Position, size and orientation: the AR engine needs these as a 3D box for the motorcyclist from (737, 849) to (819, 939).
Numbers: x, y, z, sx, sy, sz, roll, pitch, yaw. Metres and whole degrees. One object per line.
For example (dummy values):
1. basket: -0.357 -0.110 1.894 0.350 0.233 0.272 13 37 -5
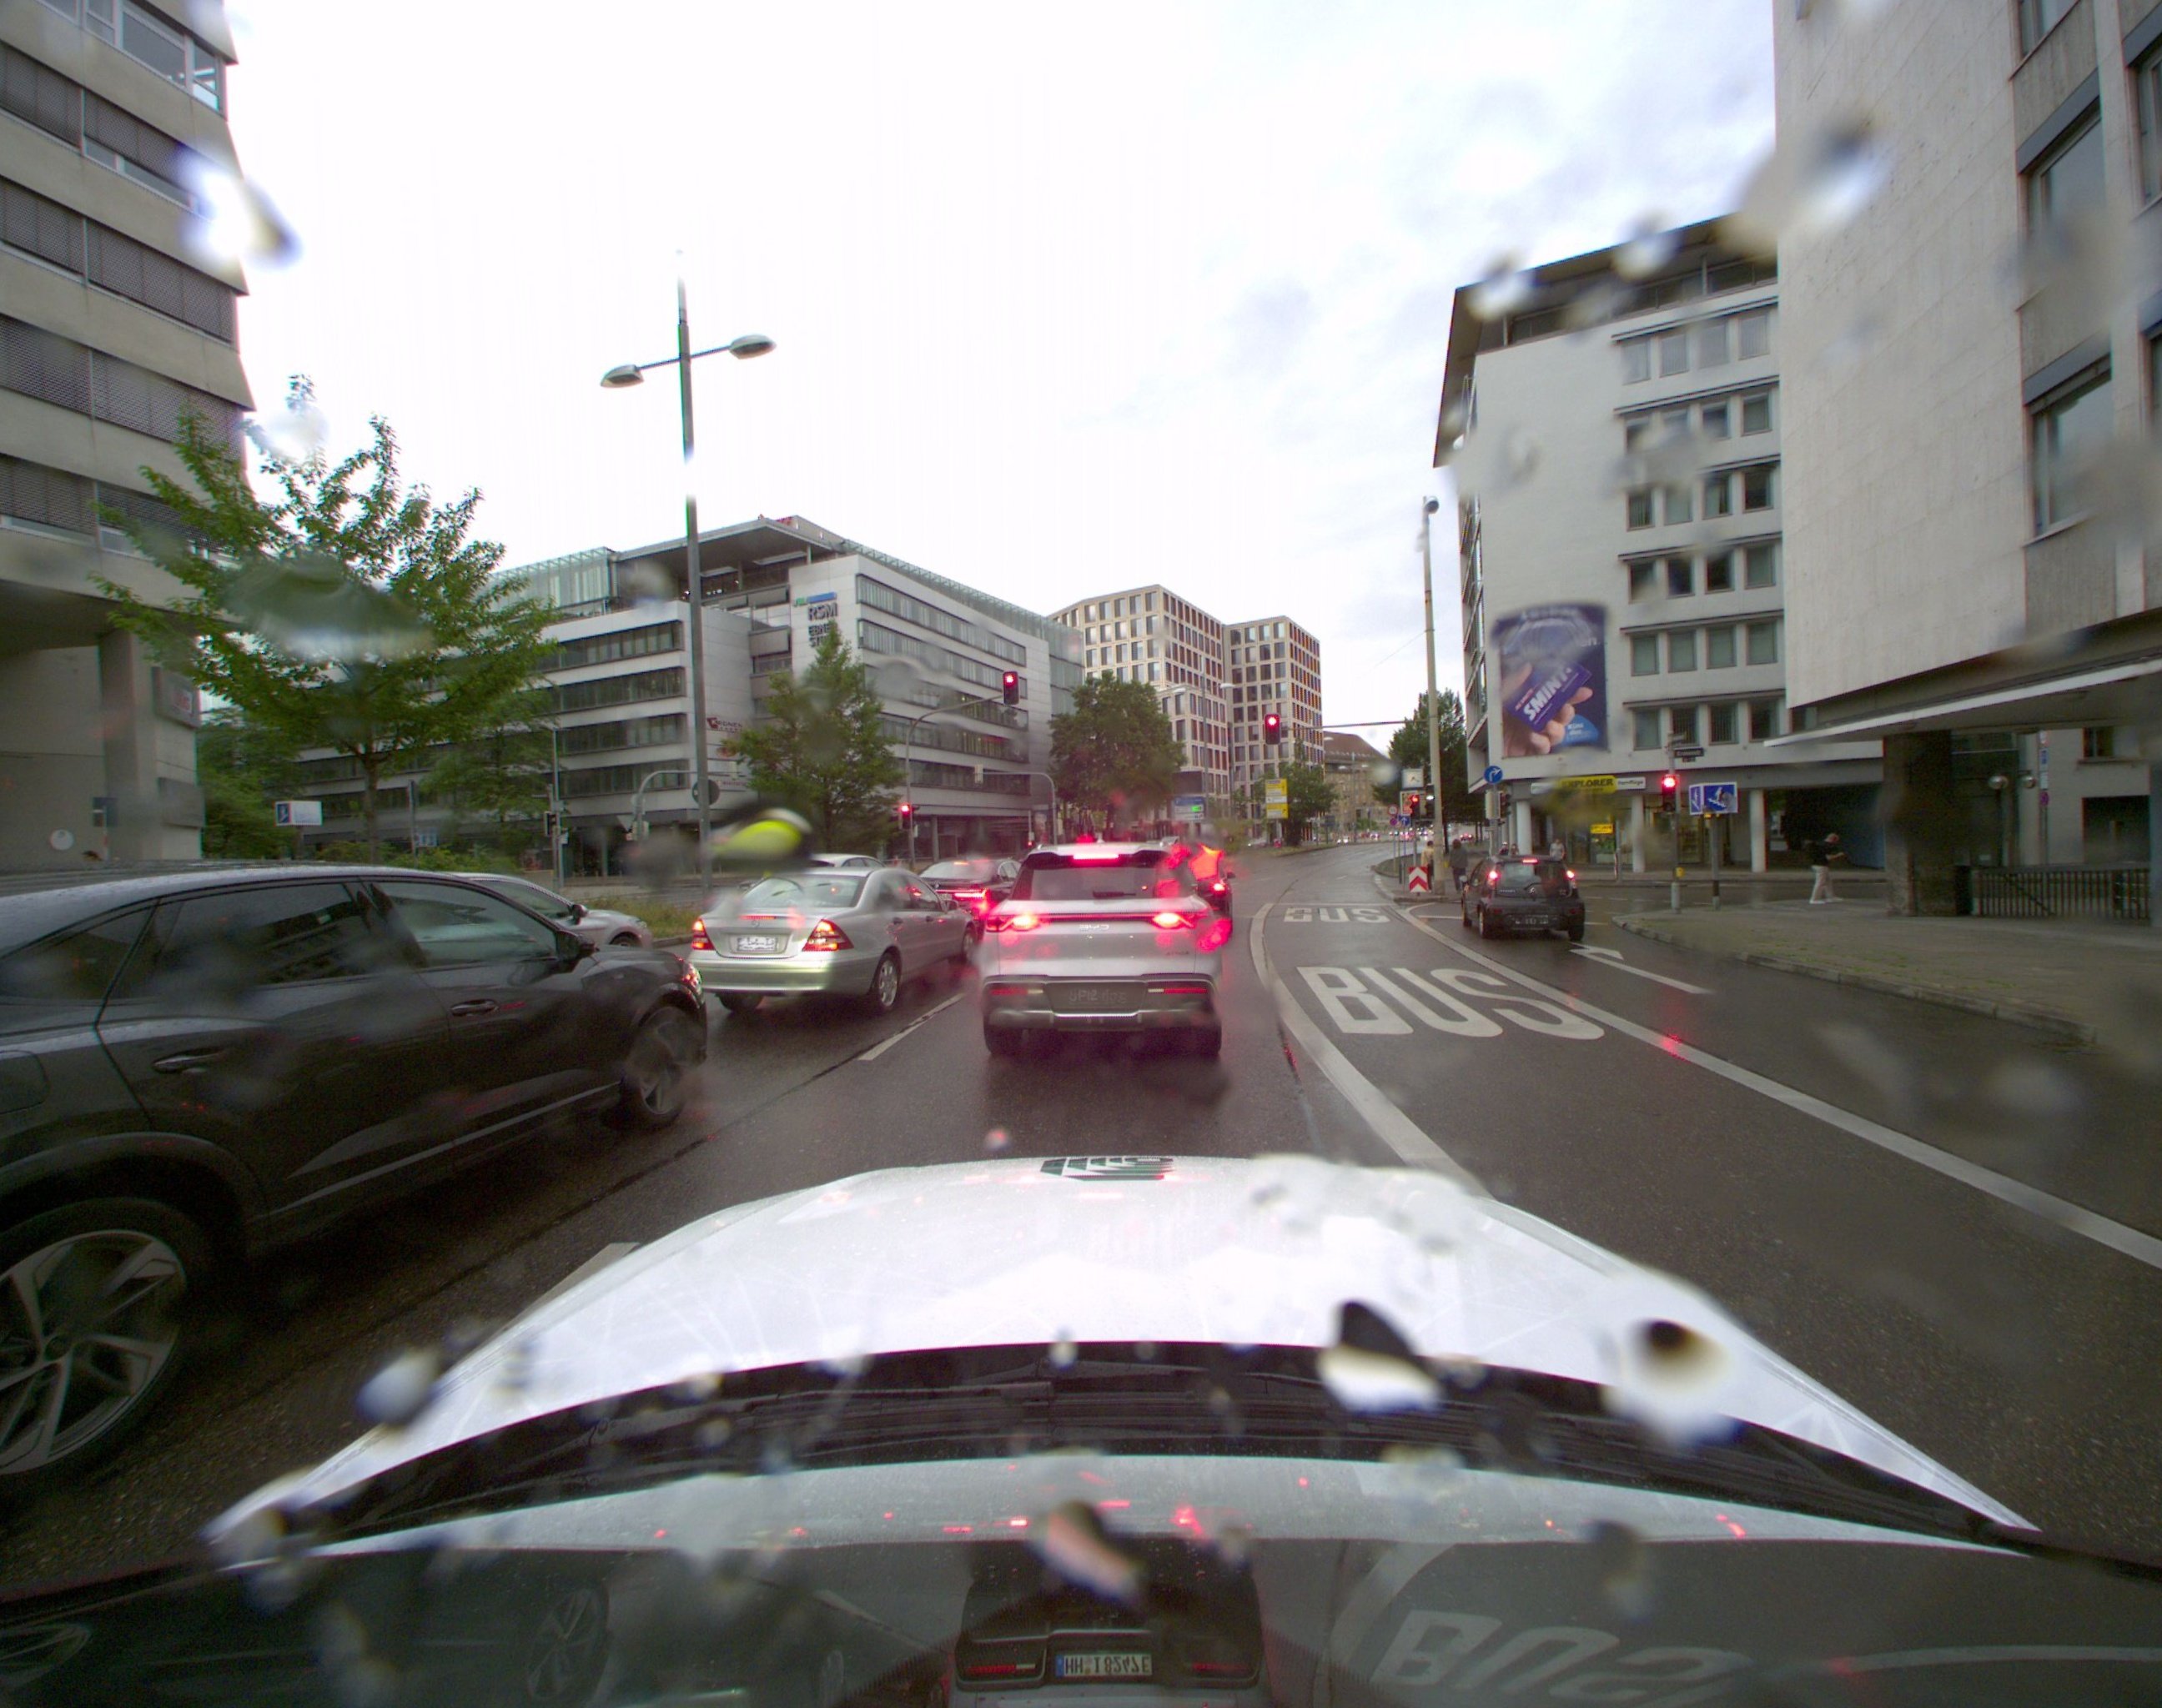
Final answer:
1. motorcyclist: -4.866 0.622 13.143 0.765 1.380 1.121 -1 -1 10

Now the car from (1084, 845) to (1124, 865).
1. car: 1.683 0.104 58.776 1.675 1.385 3.888 -1 -1 21

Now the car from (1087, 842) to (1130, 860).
1. car: 2.567 -0.305 74.775 1.796 1.510 5.228 -1 1 29

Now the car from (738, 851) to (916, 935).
1. car: -4.964 0.710 16.528 1.696 1.486 4.013 -1 -1 11

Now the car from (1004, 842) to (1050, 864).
1. car: -4.070 -0.090 62.033 1.976 1.610 4.022 1 1 22

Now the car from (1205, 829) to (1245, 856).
1. car: 11.518 -0.872 64.849 1.975 2.014 4.876 -1 -1 25

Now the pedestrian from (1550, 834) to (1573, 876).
1. pedestrian: 20.776 0.059 35.216 0.778 1.794 0.662 -1 0 -45

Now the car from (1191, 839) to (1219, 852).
1. car: 14.826 -1.027 96.998 1.974 1.488 4.025 -1 1 29

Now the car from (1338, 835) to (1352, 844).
1. car: 44.172 -2.410 136.140 1.616 1.437 3.931 -1 1 25

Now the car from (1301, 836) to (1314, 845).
1. car: 45.287 -2.652 162.947 1.590 1.741 3.467 -1 -1 34

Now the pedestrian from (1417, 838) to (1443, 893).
1. pedestrian: 11.700 0.367 27.296 0.742 1.798 0.821 -1 1 22

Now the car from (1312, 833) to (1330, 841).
1. car: 58.639 -4.141 199.275 3.952 2.013 2.011 -1 0 22

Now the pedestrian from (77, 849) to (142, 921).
1. pedestrian: -23.098 0.722 19.367 0.672 1.683 0.766 -1 0 15

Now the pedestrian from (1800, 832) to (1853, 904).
1. pedestrian: 18.421 0.339 20.142 0.764 1.731 0.599 -1 0 16

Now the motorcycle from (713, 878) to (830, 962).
1. motorcycle: -4.891 1.005 13.031 0.795 1.185 2.034 -1 -1 11

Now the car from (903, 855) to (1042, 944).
1. car: -1.927 0.774 15.690 1.561 1.486 4.010 -1 -1 9

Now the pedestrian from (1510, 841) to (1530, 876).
1. pedestrian: 19.415 0.187 36.019 0.657 1.543 0.618 -1 0 -45

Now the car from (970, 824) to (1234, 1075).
1. car: 0.272 0.660 7.500 1.768 1.679 4.004 -1 -1 4

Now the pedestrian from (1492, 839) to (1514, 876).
1. pedestrian: 18.919 0.149 36.502 0.657 1.655 0.662 -1 0 -45

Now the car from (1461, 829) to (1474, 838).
1. car: 70.714 -3.754 148.882 1.677 1.486 4.025 -1 -1 32

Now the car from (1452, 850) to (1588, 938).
1. car: 8.164 0.674 15.483 1.558 1.429 4.018 -1 -1 18

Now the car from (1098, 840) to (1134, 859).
1. car: 2.986 -0.391 68.715 1.629 1.581 4.109 -1 0 23

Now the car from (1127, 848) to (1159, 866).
1. car: 6.242 0.287 81.262 1.616 1.559 4.620 -1 1 25

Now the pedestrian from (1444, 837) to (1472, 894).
1. pedestrian: 12.255 0.360 26.513 0.742 1.798 0.821 -1 1 22

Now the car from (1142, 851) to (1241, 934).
1. car: 2.374 0.715 16.712 1.682 1.486 4.013 -1 -1 12

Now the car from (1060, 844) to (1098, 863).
1. car: -0.118 -0.065 69.795 1.623 1.571 3.741 -1 -1 29

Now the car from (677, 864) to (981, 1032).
1. car: -2.457 0.831 9.078 1.561 1.407 4.119 -1 -1 9

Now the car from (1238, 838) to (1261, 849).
1. car: 22.786 -1.431 110.067 1.974 1.488 4.025 -1 1 29

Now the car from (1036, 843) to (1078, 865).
1. car: -1.717 0.011 59.557 1.630 1.536 4.172 -1 0 19

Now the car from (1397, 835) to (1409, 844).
1. car: 59.482 -2.660 150.396 1.871 1.643 4.023 -1 0 24

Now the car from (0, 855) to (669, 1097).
1. car: -6.240 0.803 7.741 1.856 1.533 4.784 -1 0 5

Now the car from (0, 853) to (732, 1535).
1. car: -3.212 0.776 3.241 1.642 1.521 4.274 -1 0 2
